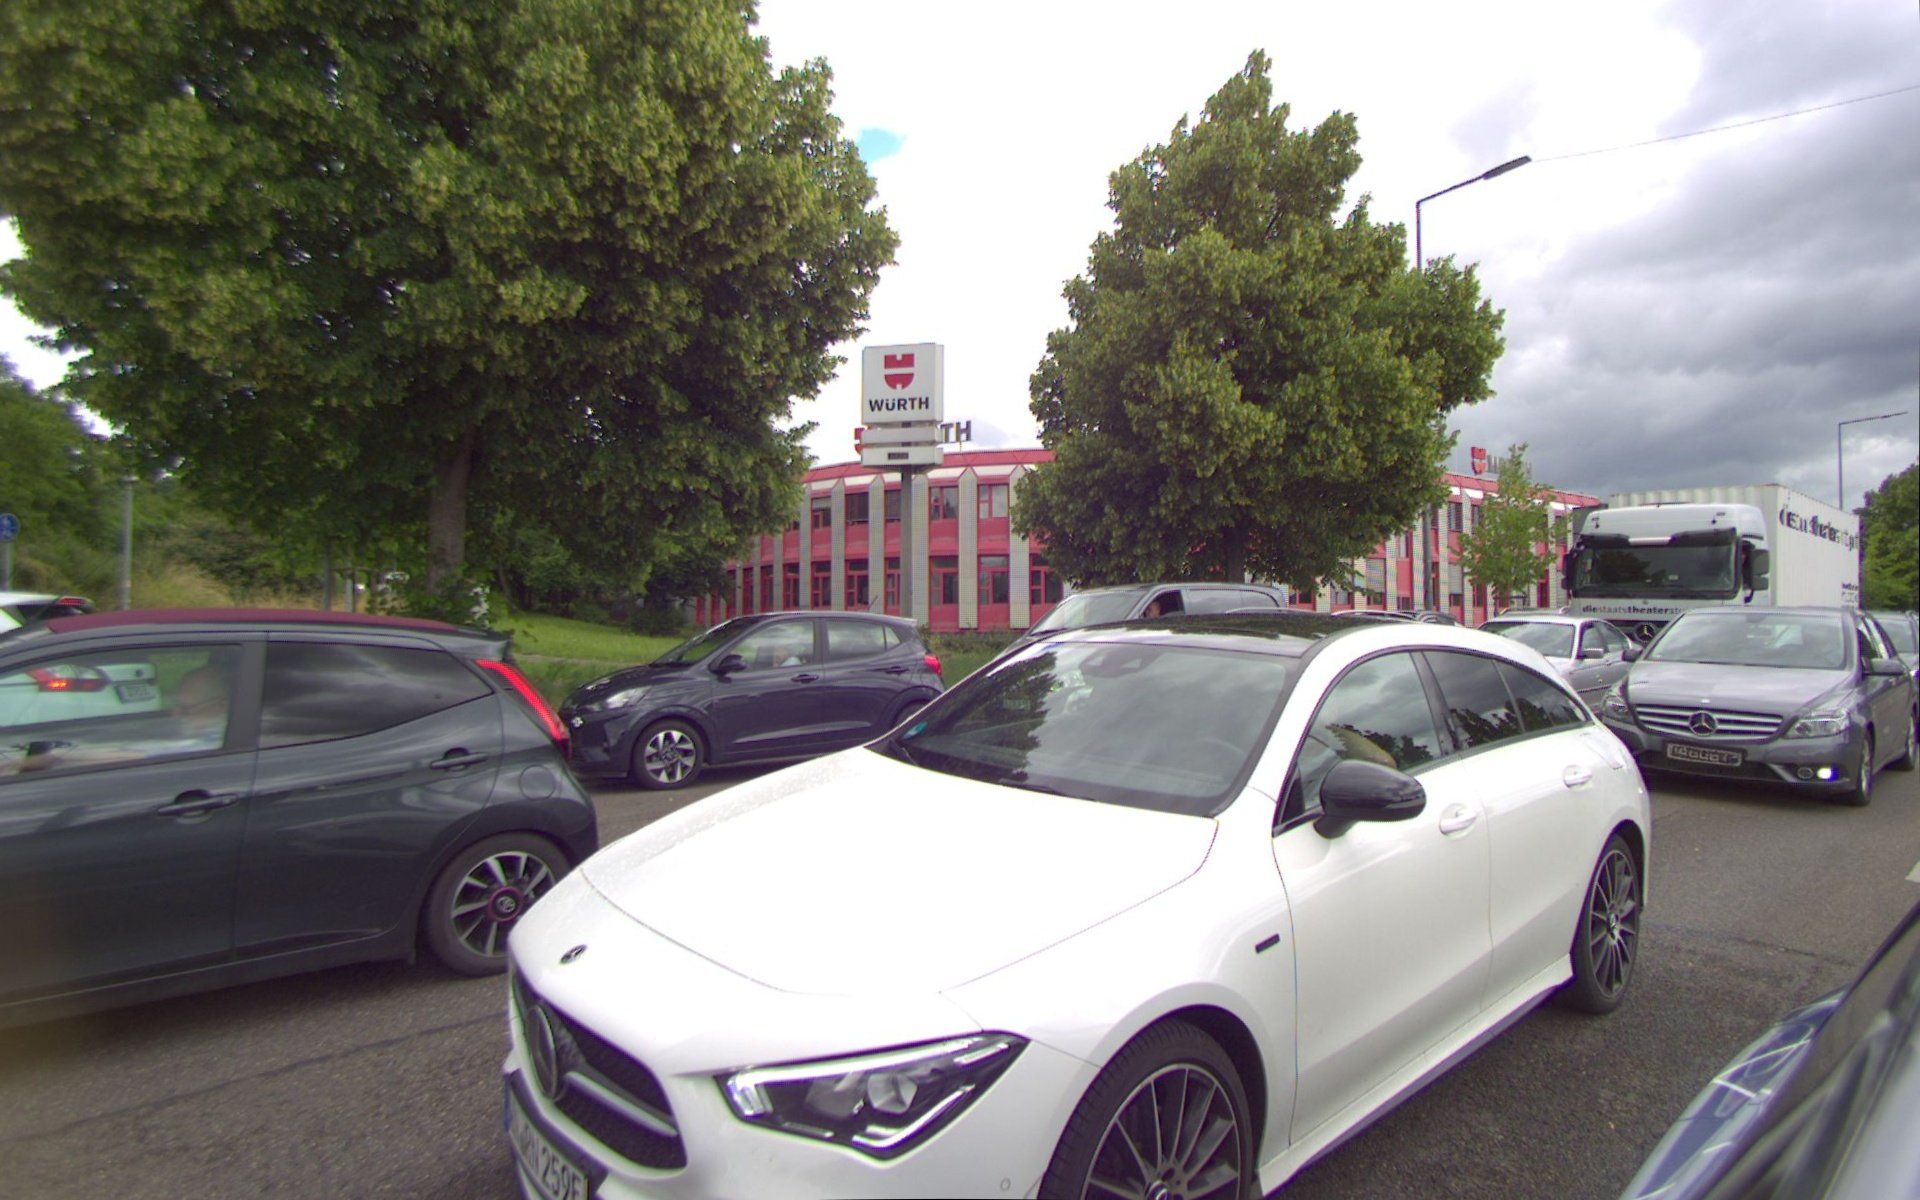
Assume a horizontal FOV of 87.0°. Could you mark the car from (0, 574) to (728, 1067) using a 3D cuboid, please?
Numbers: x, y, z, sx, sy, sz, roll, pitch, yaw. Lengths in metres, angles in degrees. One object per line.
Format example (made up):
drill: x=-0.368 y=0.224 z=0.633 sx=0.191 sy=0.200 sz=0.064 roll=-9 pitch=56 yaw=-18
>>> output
car: x=-3.015 y=0.649 z=3.981 sx=3.815 sy=1.471 sz=1.615 roll=-1 pitch=1 yaw=-42

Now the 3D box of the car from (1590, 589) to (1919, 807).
car: x=7.304 y=0.711 z=9.059 sx=3.976 sy=1.527 sz=1.749 roll=1 pitch=-1 yaw=-41

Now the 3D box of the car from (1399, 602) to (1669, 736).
car: x=7.534 y=0.761 z=13.111 sx=4.215 sy=1.400 sz=1.749 roll=-1 pitch=1 yaw=-41

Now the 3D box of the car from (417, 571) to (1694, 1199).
car: x=0.830 y=0.697 z=3.466 sx=4.453 sy=1.525 sz=1.847 roll=-1 pitch=1 yaw=-42

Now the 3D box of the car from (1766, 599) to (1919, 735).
car: x=11.776 y=0.774 z=12.957 sx=3.769 sy=1.512 sz=1.627 roll=1 pitch=-1 yaw=-41

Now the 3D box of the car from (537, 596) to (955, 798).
car: x=-1.939 y=0.745 z=9.481 sx=3.495 sy=1.525 sz=1.608 roll=-1 pitch=0 yaw=-34

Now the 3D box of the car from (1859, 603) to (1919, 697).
car: x=17.131 y=0.870 z=17.530 sx=3.431 sy=1.525 sz=1.825 roll=2 pitch=-1 yaw=-39

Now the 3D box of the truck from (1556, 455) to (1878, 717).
truck: x=14.967 y=-0.198 z=19.555 sx=10.000 sy=3.953 sz=2.808 roll=0 pitch=0 yaw=-40

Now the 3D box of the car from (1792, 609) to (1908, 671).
car: x=24.426 y=1.060 z=27.730 sx=4.299 sy=1.549 sz=1.850 roll=1 pitch=-1 yaw=-41

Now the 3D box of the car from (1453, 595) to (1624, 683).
car: x=12.388 y=0.810 z=21.586 sx=4.133 sy=1.679 sz=1.863 roll=1 pitch=-3 yaw=-41

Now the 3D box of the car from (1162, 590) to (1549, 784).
car: x=4.015 y=0.691 z=9.906 sx=4.279 sy=1.504 sz=1.749 roll=1 pitch=-1 yaw=-41

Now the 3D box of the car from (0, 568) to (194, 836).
car: x=-7.888 y=0.646 z=6.584 sx=4.278 sy=1.676 sz=1.767 roll=0 pitch=-1 yaw=-20

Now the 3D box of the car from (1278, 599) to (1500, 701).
car: x=7.403 y=0.805 z=17.327 sx=4.034 sy=1.536 sz=1.842 roll=0 pitch=-4 yaw=-41

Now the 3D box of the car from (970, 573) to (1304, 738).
car: x=2.439 y=0.573 z=13.211 sx=4.592 sy=1.797 sz=1.762 roll=-1 pitch=0 yaw=-40
